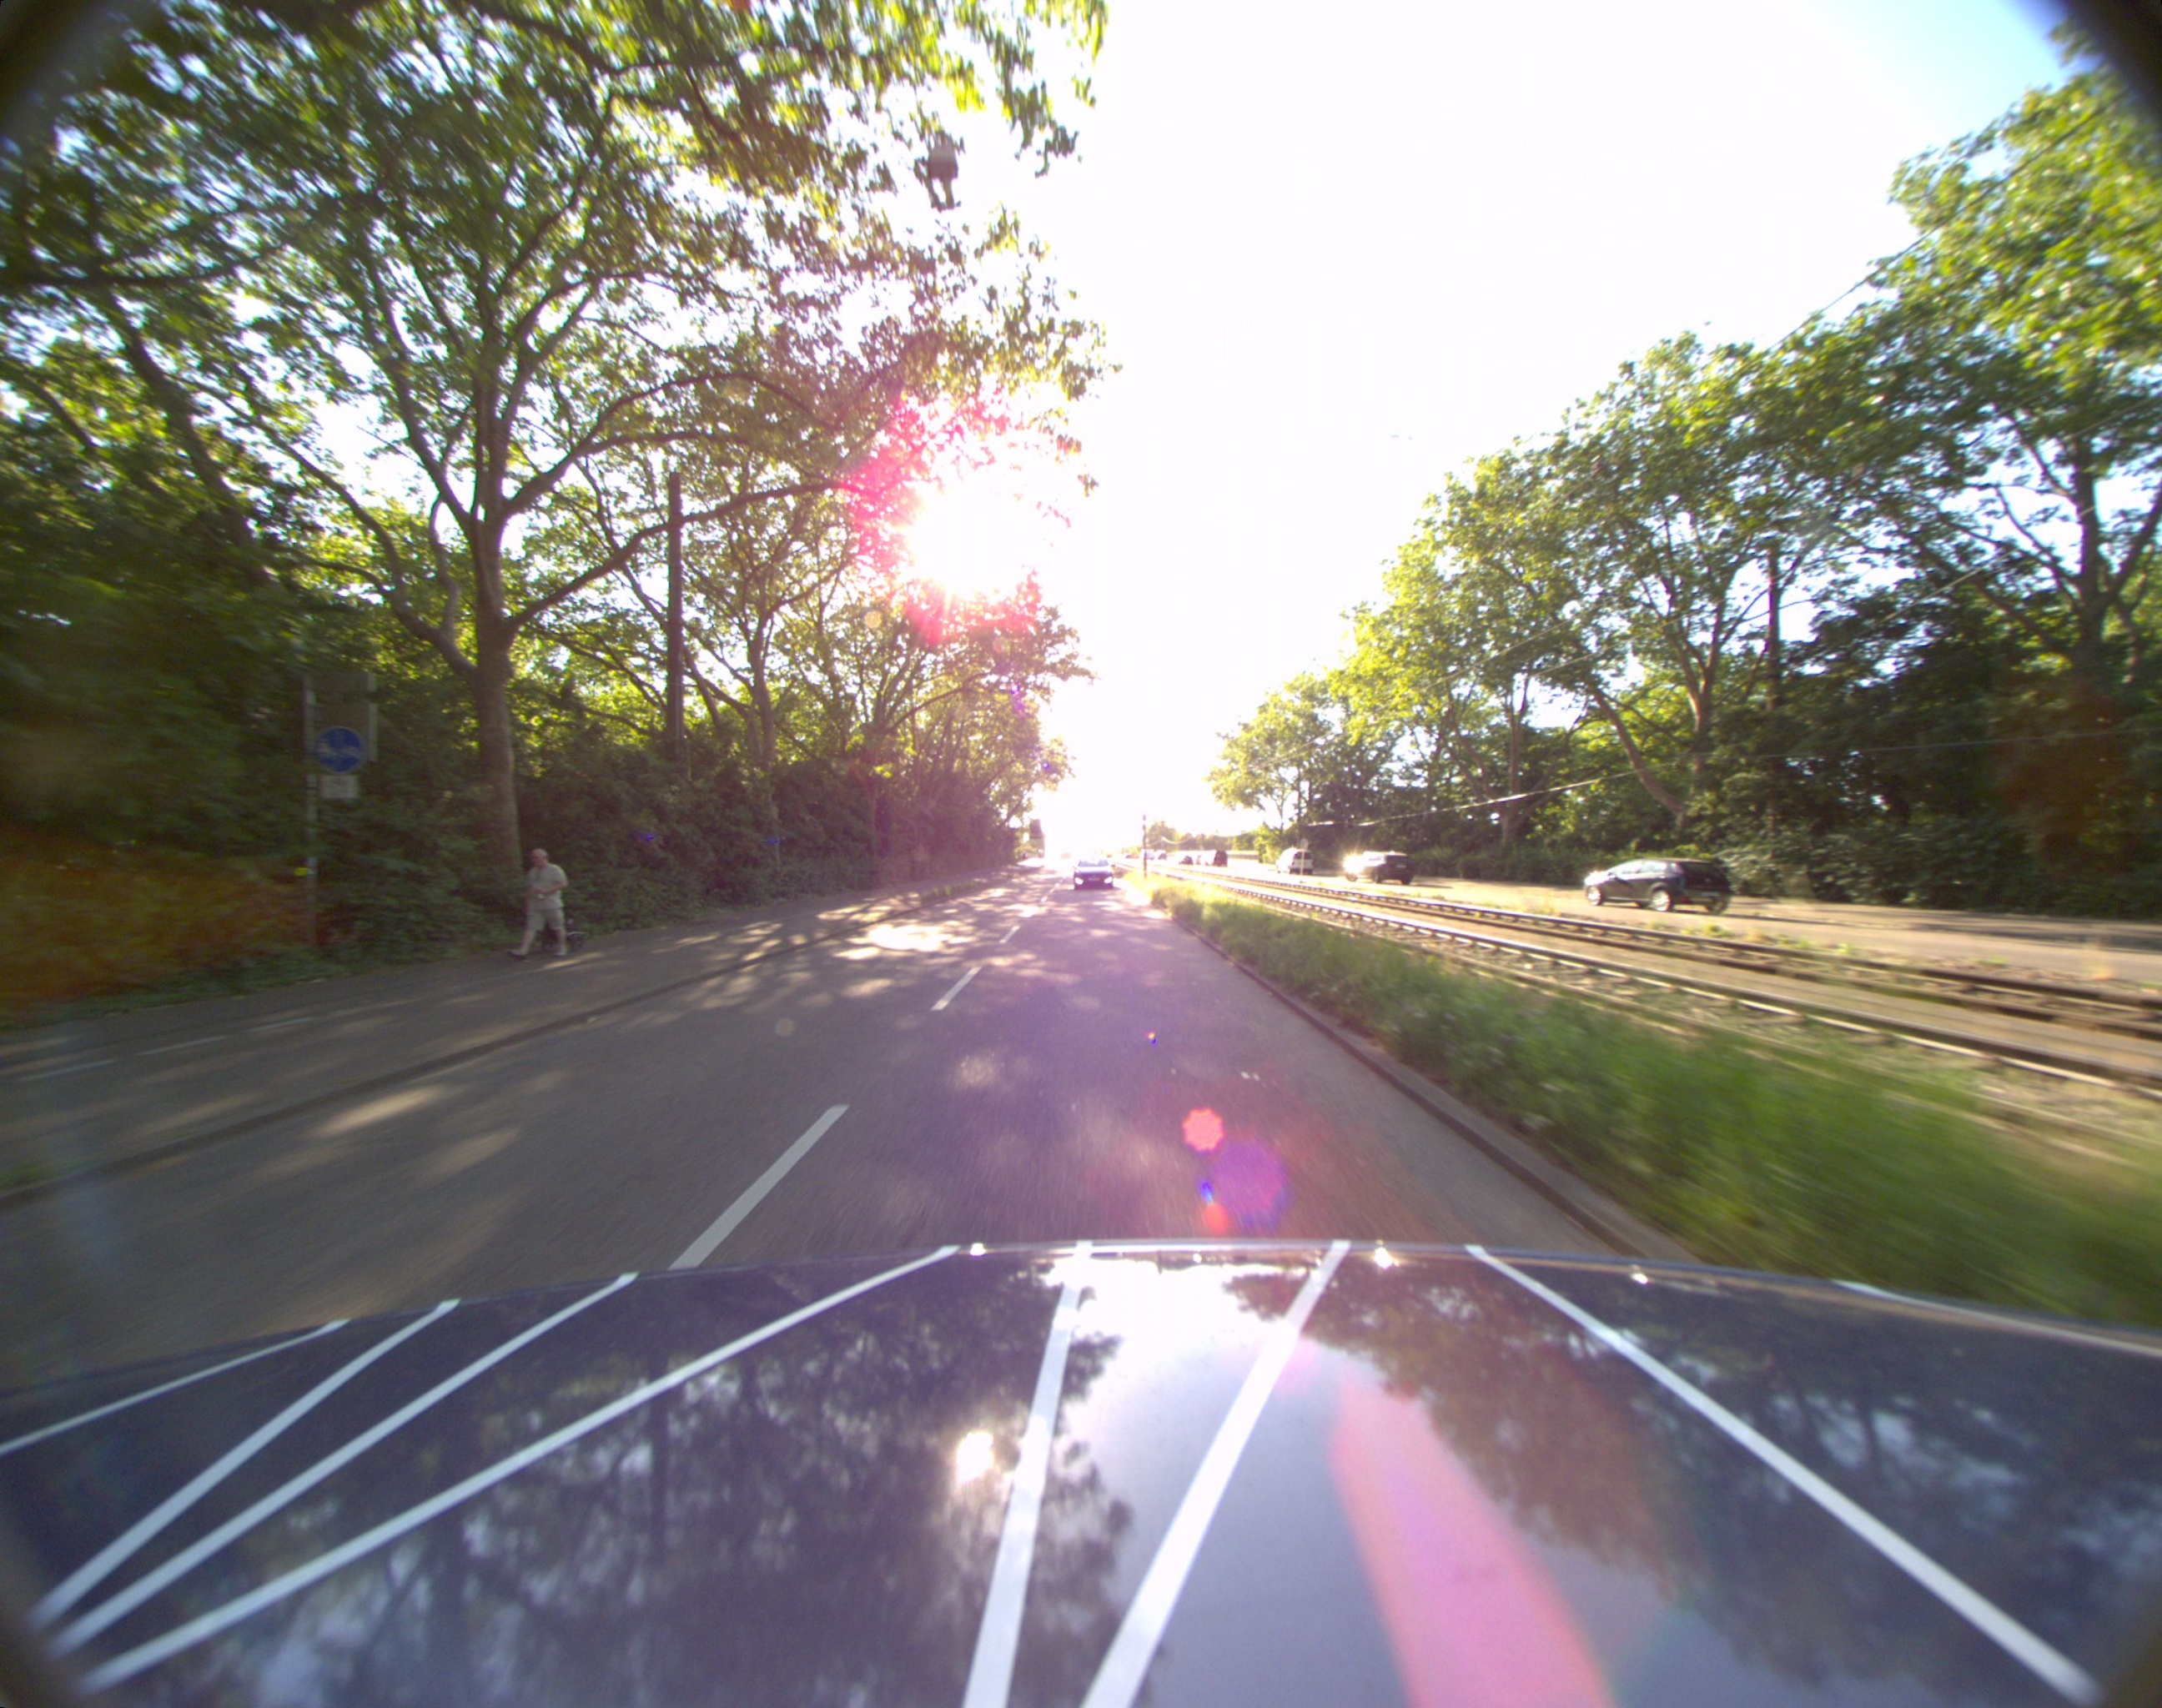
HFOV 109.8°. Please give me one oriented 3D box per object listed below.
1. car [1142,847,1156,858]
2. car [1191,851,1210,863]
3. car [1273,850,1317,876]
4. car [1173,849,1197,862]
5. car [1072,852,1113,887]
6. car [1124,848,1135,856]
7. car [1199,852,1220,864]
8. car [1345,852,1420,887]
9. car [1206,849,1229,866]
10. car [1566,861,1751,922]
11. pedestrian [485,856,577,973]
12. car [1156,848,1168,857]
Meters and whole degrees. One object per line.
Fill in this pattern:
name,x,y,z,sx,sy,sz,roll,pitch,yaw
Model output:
car,11.418,-0.226,127.372,1.832,1.841,5.035,1,1,-1
car,15.011,0.355,95.662,1.658,1.434,3.784,1,1,-2
car,15.890,0.606,56.561,1.832,1.830,4.393,1,1,-3
car,12.058,0.132,88.341,1.925,1.407,4.748,1,1,-2
car,0.475,0.708,36.354,1.799,1.501,3.999,-2,0,-1
car,11.185,-0.490,175.165,1.988,1.841,4.961,1,1,-1
car,15.242,0.452,90.179,1.659,1.434,3.784,1,1,-3
car,15.988,0.794,40.594,1.833,1.709,4.391,1,1,-7
car,15.188,0.374,84.695,1.735,1.730,3.898,1,1,-3
car,16.360,0.992,21.870,1.832,1.496,4.393,1,1,-3
pedestrian,-8.038,0.848,11.149,0.649,1.626,0.927,2,1,0
car,14.683,-0.257,137.408,1.658,1.491,3.924,1,1,-1
